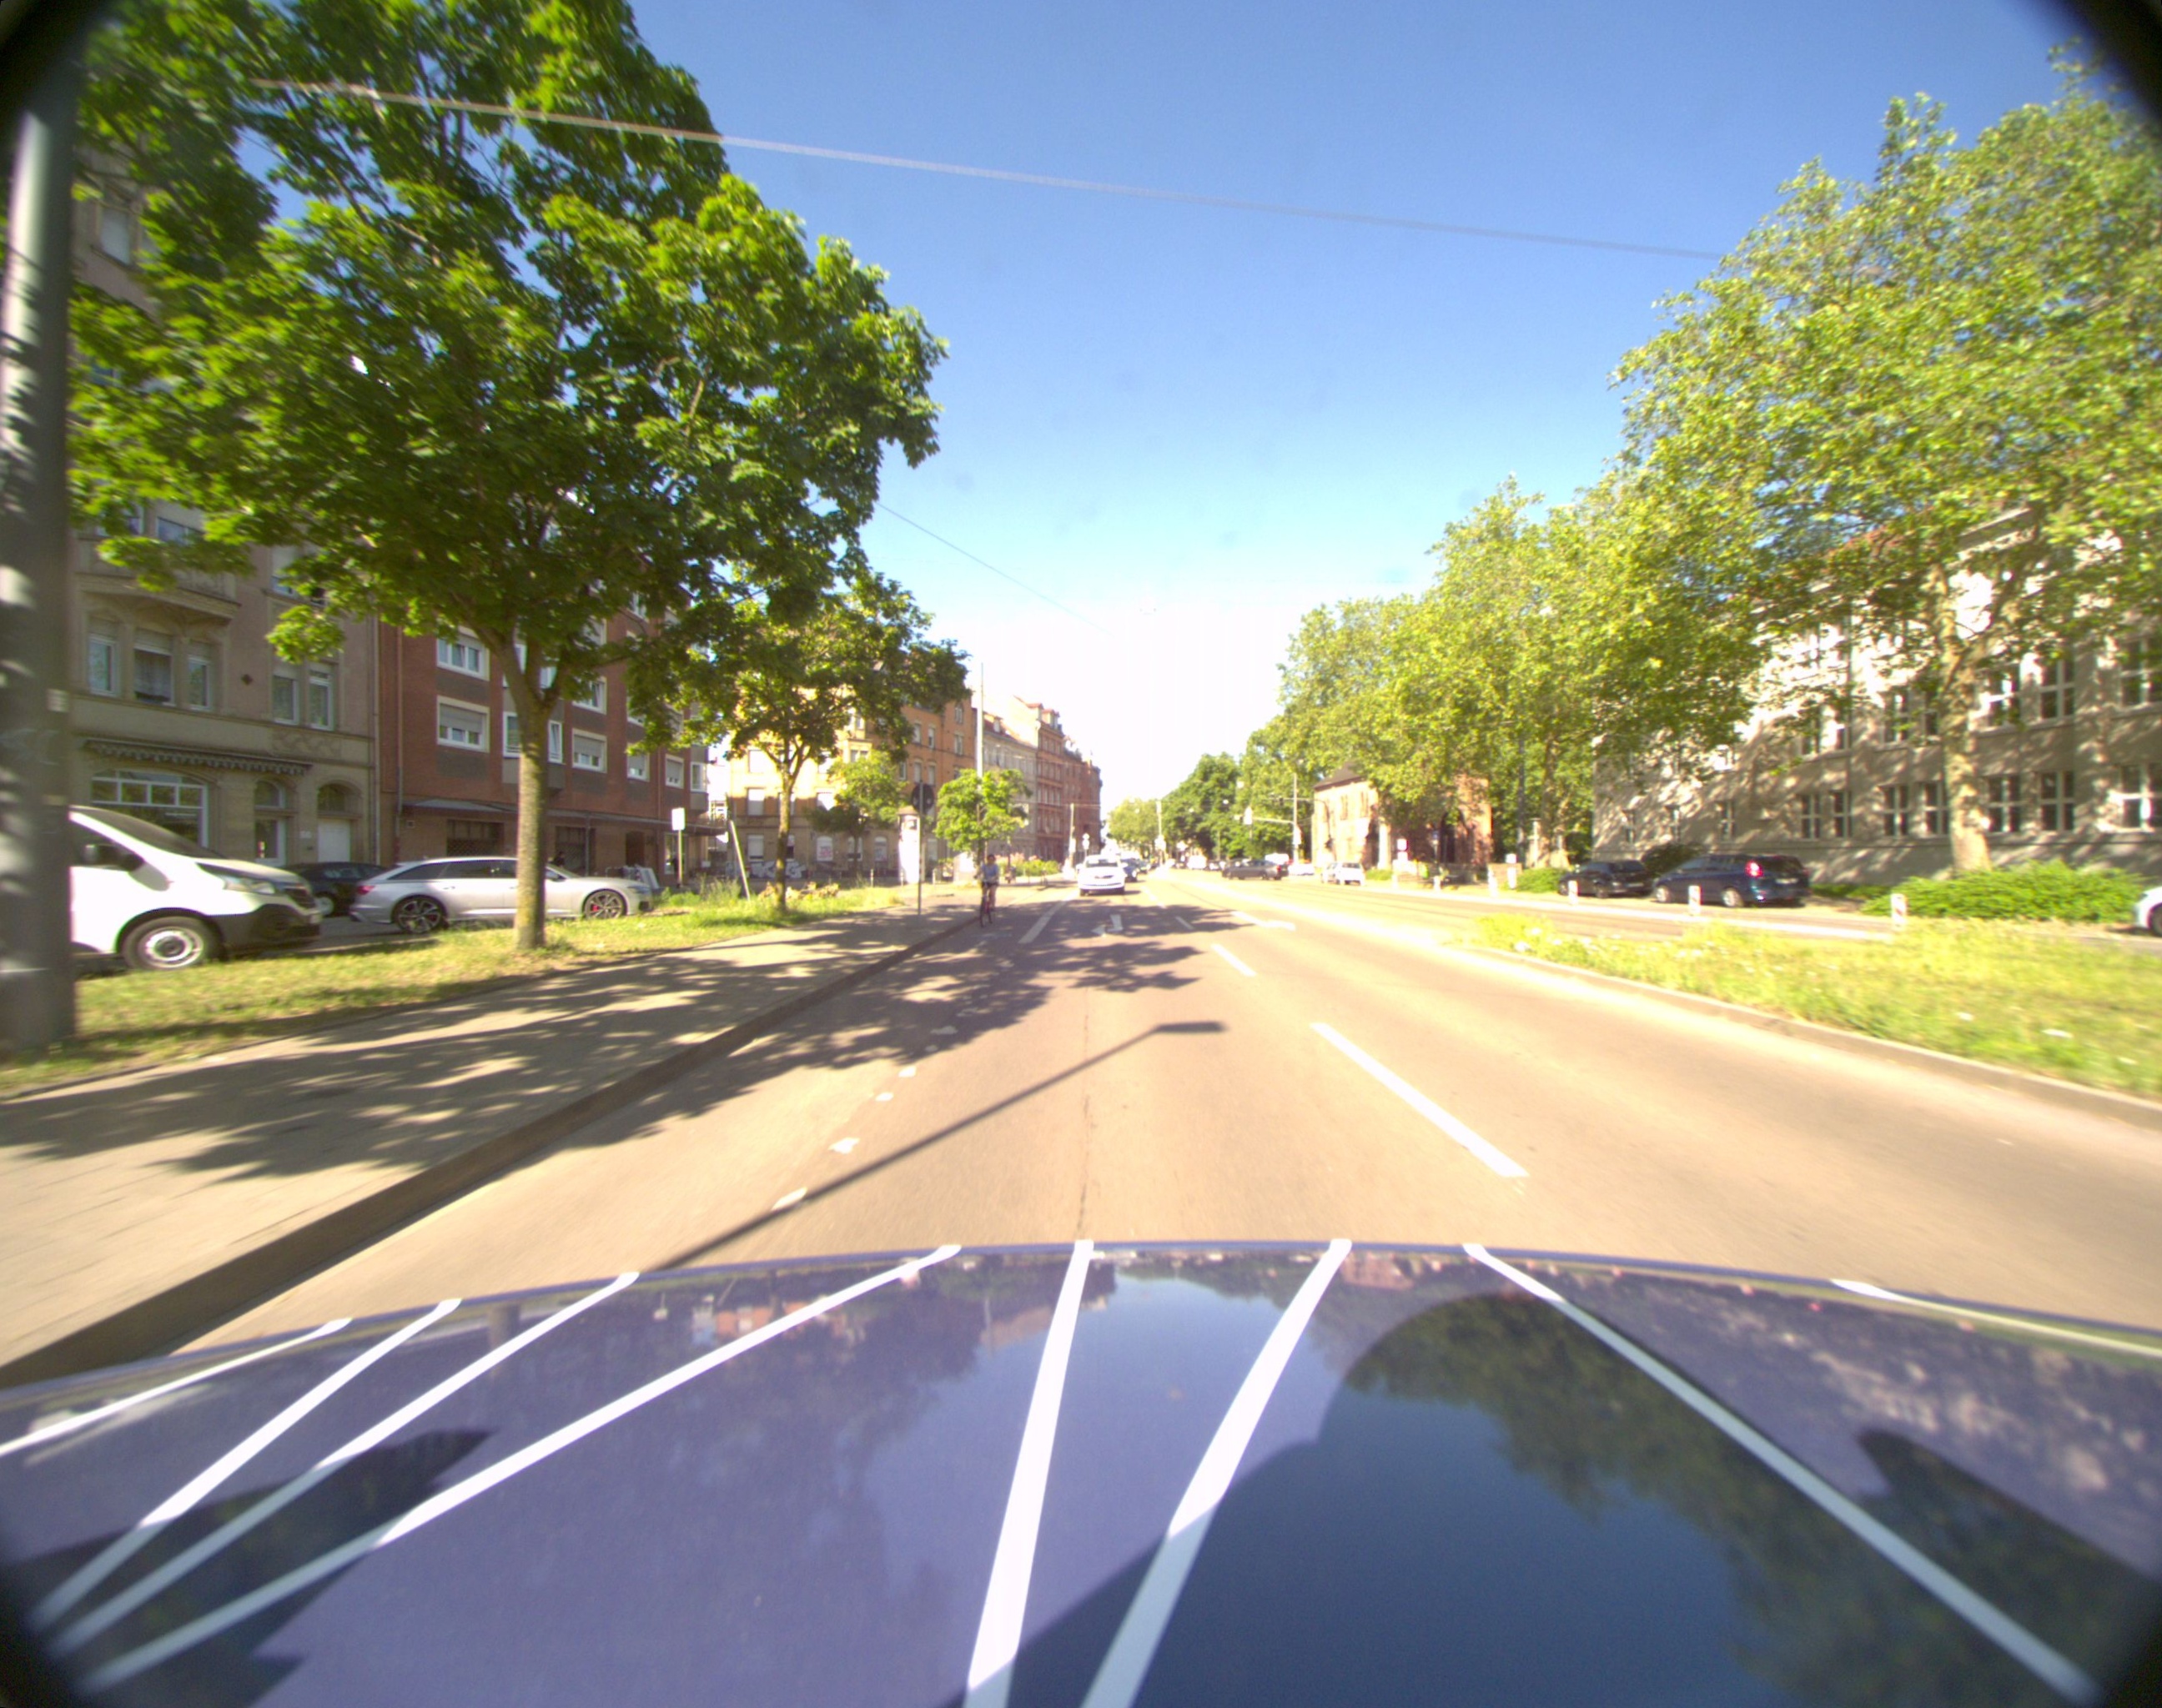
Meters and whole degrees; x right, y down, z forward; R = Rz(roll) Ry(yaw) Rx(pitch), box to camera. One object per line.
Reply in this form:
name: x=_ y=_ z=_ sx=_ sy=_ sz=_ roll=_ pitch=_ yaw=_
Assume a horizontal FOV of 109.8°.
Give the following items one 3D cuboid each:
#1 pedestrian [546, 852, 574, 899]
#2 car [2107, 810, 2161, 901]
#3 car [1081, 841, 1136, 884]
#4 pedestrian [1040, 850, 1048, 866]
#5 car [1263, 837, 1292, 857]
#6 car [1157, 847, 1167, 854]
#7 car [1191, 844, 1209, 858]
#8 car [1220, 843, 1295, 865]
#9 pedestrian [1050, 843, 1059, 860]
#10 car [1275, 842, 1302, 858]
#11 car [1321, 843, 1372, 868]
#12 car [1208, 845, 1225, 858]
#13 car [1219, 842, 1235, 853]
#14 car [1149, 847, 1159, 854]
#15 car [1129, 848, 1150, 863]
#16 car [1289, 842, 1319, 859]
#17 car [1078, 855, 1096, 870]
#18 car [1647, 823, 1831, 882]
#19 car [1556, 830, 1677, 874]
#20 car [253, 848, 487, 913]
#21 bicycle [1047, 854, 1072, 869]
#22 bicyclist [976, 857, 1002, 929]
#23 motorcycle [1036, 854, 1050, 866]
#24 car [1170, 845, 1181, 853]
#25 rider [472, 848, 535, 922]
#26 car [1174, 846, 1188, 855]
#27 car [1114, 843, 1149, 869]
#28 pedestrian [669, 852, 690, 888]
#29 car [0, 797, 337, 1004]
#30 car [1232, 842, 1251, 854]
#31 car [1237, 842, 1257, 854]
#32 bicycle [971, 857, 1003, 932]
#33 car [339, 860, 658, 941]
pedestrian: x=-19.480 y=0.803 z=28.407 sx=0.571 sy=1.748 sz=0.615 roll=-1 pitch=1 yaw=4
car: x=19.710 y=0.028 z=11.714 sx=1.834 sy=1.578 sz=4.395 roll=-1 pitch=0 yaw=0
car: x=1.228 y=0.306 z=31.797 sx=1.800 sy=1.626 sz=4.396 roll=-2 pitch=1 yaw=8
pedestrian: x=-4.382 y=0.419 z=89.940 sx=0.821 sy=1.851 sz=0.703 roll=-2 pitch=1 yaw=-8
car: x=21.728 y=-0.727 z=84.153 sx=1.921 sy=2.084 sz=4.592 roll=-2 pitch=0 yaw=0
car: x=17.502 y=-0.793 z=164.449 sx=1.795 sy=1.543 sz=4.307 roll=-2 pitch=0 yaw=2
car: x=16.964 y=-0.462 z=108.753 sx=2.065 sy=1.880 sz=4.518 roll=0 pitch=0 yaw=3
car: x=12.349 y=-0.017 z=53.432 sx=1.839 sy=1.444 sz=4.946 roll=-1 pitch=1 yaw=-44
pedestrian: x=-3.126 y=-0.251 z=91.172 sx=0.844 sy=2.002 sz=1.369 roll=-1 pitch=1 yaw=5
car: x=21.541 y=-0.450 z=79.156 sx=1.795 sy=1.543 sz=3.860 roll=-2 pitch=0 yaw=1
car: x=15.883 y=0.081 z=45.713 sx=1.834 sy=1.444 sz=4.171 roll=-1 pitch=0 yaw=4
car: x=16.772 y=-0.347 z=93.993 sx=1.619 sy=1.404 sz=4.090 roll=6 pitch=1 yaw=5
car: x=22.417 y=-0.972 z=116.684 sx=1.795 sy=1.543 sz=4.307 roll=-2 pitch=0 yaw=2
car: x=14.464 y=-0.660 z=150.538 sx=1.797 sy=1.421 sz=4.376 roll=-2 pitch=0 yaw=2
car: x=6.115 y=0.155 z=79.561 sx=1.889 sy=1.419 sz=4.376 roll=-2 pitch=1 yaw=1
car: x=21.616 y=-0.290 z=73.865 sx=1.779 sy=1.564 sz=3.677 roll=-1 pitch=-1 yaw=-1
car: x=0.665 y=0.878 z=80.402 sx=1.682 sy=1.475 sz=4.001 roll=-1 pitch=0 yaw=4
car: x=20.002 y=-0.054 z=23.389 sx=1.834 sy=1.629 sz=4.395 roll=-1 pitch=0 yaw=0
car: x=20.277 y=-0.080 z=29.006 sx=1.676 sy=1.538 sz=4.189 roll=0 pitch=0 yaw=0
car: x=-19.454 y=0.649 z=21.146 sx=1.998 sy=1.466 sz=4.490 roll=-3 pitch=1 yaw=4
bicycle: x=-2.453 y=0.837 z=87.329 sx=1.968 sy=1.408 sz=6.829 roll=-3 pitch=0 yaw=6
bicyclist: x=-2.138 y=0.893 z=17.693 sx=0.438 sy=1.629 sz=0.779 roll=-1 pitch=1 yaw=2
motorcycle: x=-4.519 y=0.696 z=89.925 sx=1.631 sy=1.308 sz=0.716 roll=-2 pitch=1 yaw=-8
car: x=19.108 y=-1.049 z=153.664 sx=1.795 sy=1.543 sz=4.307 roll=-2 pitch=0 yaw=2
rider: x=-14.643 y=0.765 z=19.299 sx=0.963 sy=1.810 sz=1.039 roll=-2 pitch=1 yaw=-20
car: x=16.506 y=-0.609 z=125.109 sx=1.797 sy=1.421 sz=4.376 roll=-2 pitch=0 yaw=2
car: x=3.351 y=0.164 z=49.853 sx=1.997 sy=1.607 sz=4.267 roll=-2 pitch=-1 yaw=7
pedestrian: x=-19.667 y=0.777 z=37.204 sx=0.592 sy=1.750 sz=0.642 roll=-2 pitch=1 yaw=2
car: x=-11.673 y=0.466 z=8.207 sx=4.889 sy=2.063 sz=2.015 roll=0 pitch=0 yaw=-33
car: x=22.083 y=-0.829 z=104.933 sx=1.795 sy=1.543 sz=4.307 roll=-2 pitch=0 yaw=2
car: x=21.879 y=-0.755 z=100.202 sx=1.795 sy=1.543 sz=4.307 roll=-2 pitch=0 yaw=2
bicycle: x=-2.140 y=0.891 z=17.540 sx=0.438 sy=1.629 sz=1.939 roll=0 pitch=0 yaw=2
car: x=-11.481 y=0.833 z=15.503 sx=4.889 sy=1.426 sz=2.016 roll=0 pitch=0 yaw=-32
